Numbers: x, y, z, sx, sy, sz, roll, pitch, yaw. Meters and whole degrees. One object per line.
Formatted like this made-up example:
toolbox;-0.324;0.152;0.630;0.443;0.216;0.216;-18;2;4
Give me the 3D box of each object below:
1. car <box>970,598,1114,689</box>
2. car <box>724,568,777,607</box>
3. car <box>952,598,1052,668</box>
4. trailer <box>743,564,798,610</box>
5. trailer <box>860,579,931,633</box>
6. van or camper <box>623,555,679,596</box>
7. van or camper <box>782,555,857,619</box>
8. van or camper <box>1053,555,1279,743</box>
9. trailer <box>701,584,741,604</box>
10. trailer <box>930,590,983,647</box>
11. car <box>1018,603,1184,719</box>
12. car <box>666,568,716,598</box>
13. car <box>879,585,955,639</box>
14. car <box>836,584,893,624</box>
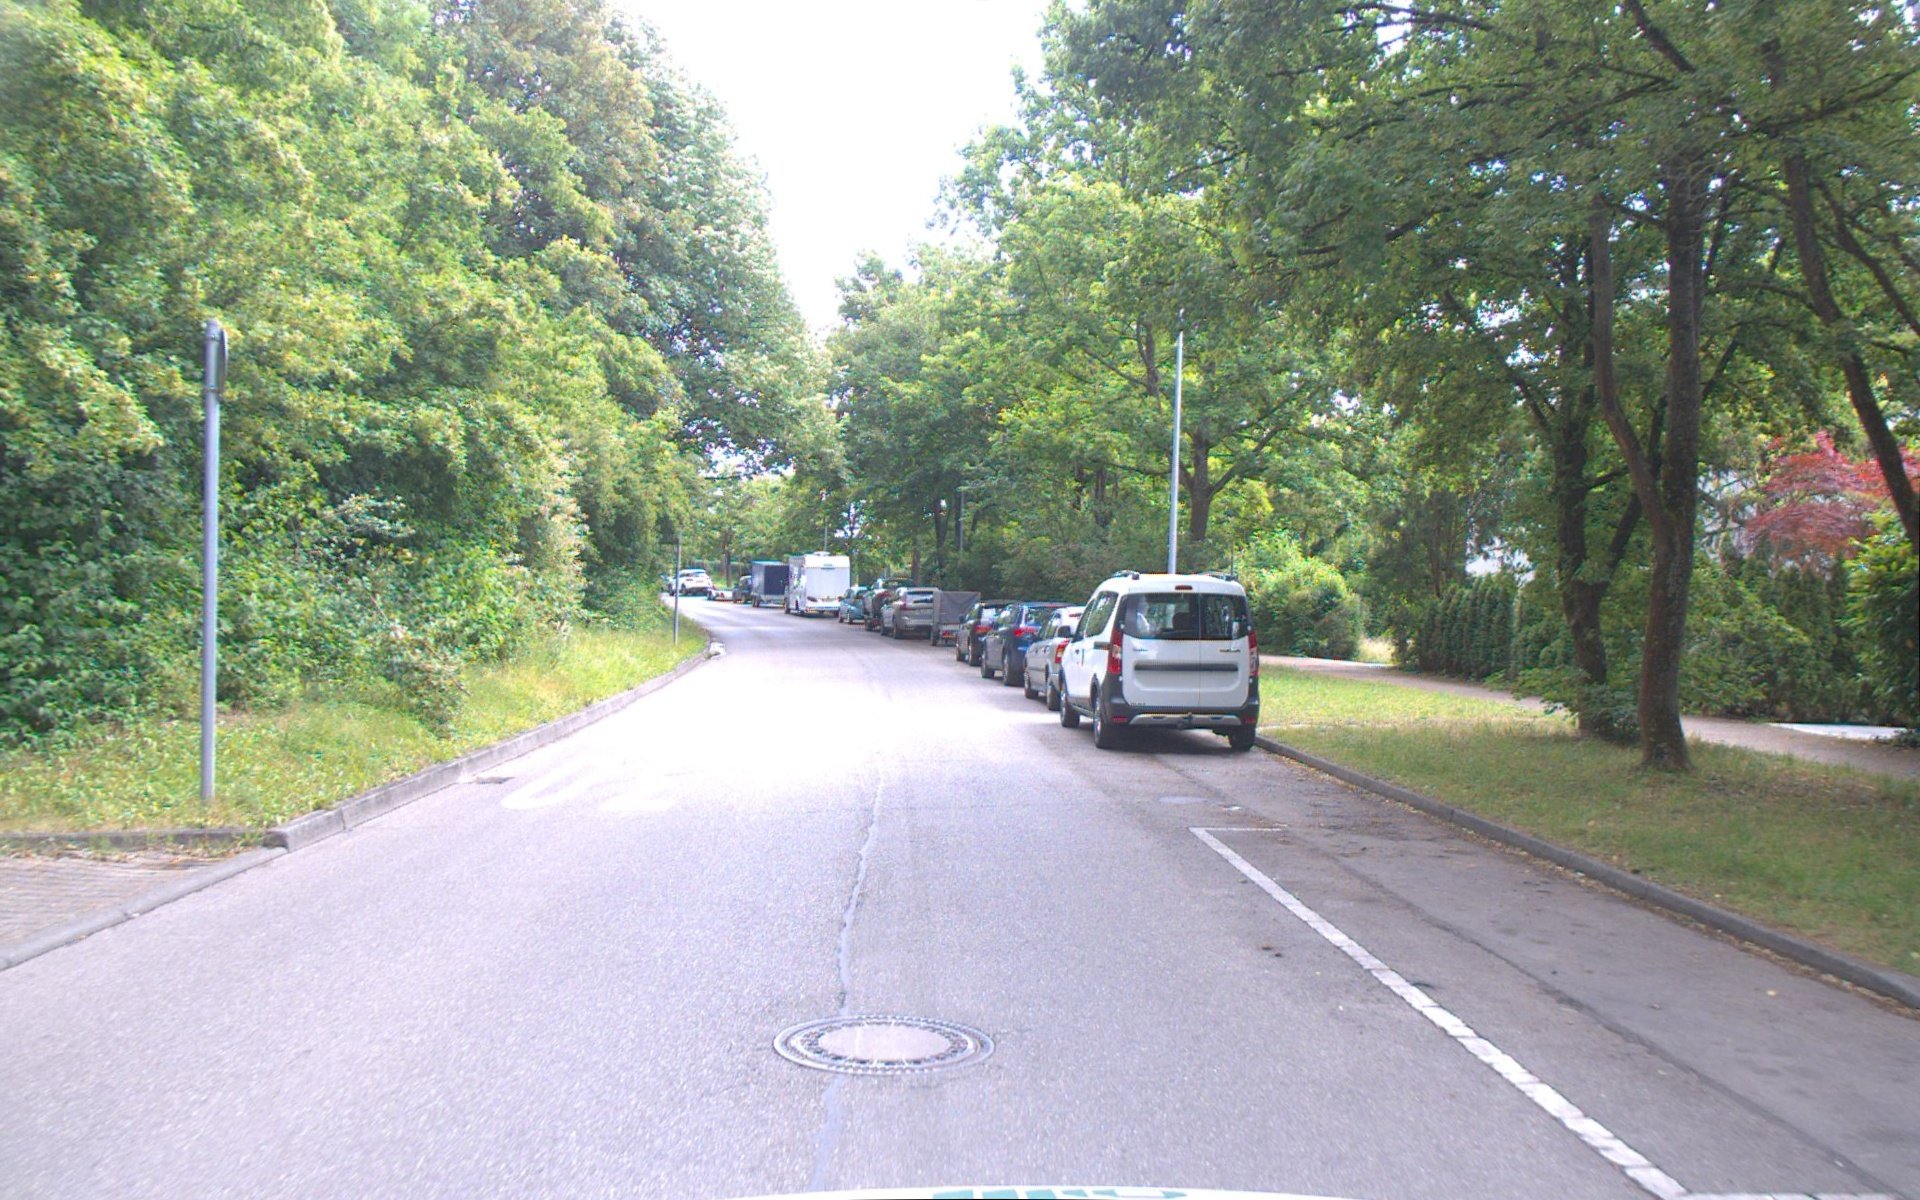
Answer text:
car;1.425;0.744;30.473;1.812;1.500;4.470;1;0;-8
car;-12.143;-0.732;95.662;1.967;2.061;3.972;-2;3;-23
car;0.905;0.709;37.834;1.688;1.478;3.911;1;0;-8
trailer;-10.362;-0.704;90.418;1.966;2.440;3.973;1;1;-23
trailer;-2.424;0.173;60.962;1.943;1.843;5.136;0;1;-10
van or camper;-21.592;-1.752;115.486;2.500;2.744;4.529;-1;2;-30
van or camper;-6.883;-0.629;80.283;2.441;2.926;6.862;1;0;-15
van or camper;2.209;0.540;18.844;1.766;1.870;4.317;1;-1;-4
trailer;-14.347;-0.382;99.173;1.628;1.105;3.977;-1;2;-20
trailer;-0.117;0.520;48.618;1.254;1.612;2.456;1;0;-7
car;1.989;0.834;24.539;1.777;1.462;4.239;2;0;-4
car;-17.561;-1.124;107.826;2.012;1.835;4.046;0;1;-28
car;-1.469;0.424;54.707;1.760;1.699;4.488;1;-1;-12
car;-4.080;0.155;70.170;1.769;1.589;3.823;0;1;-13
